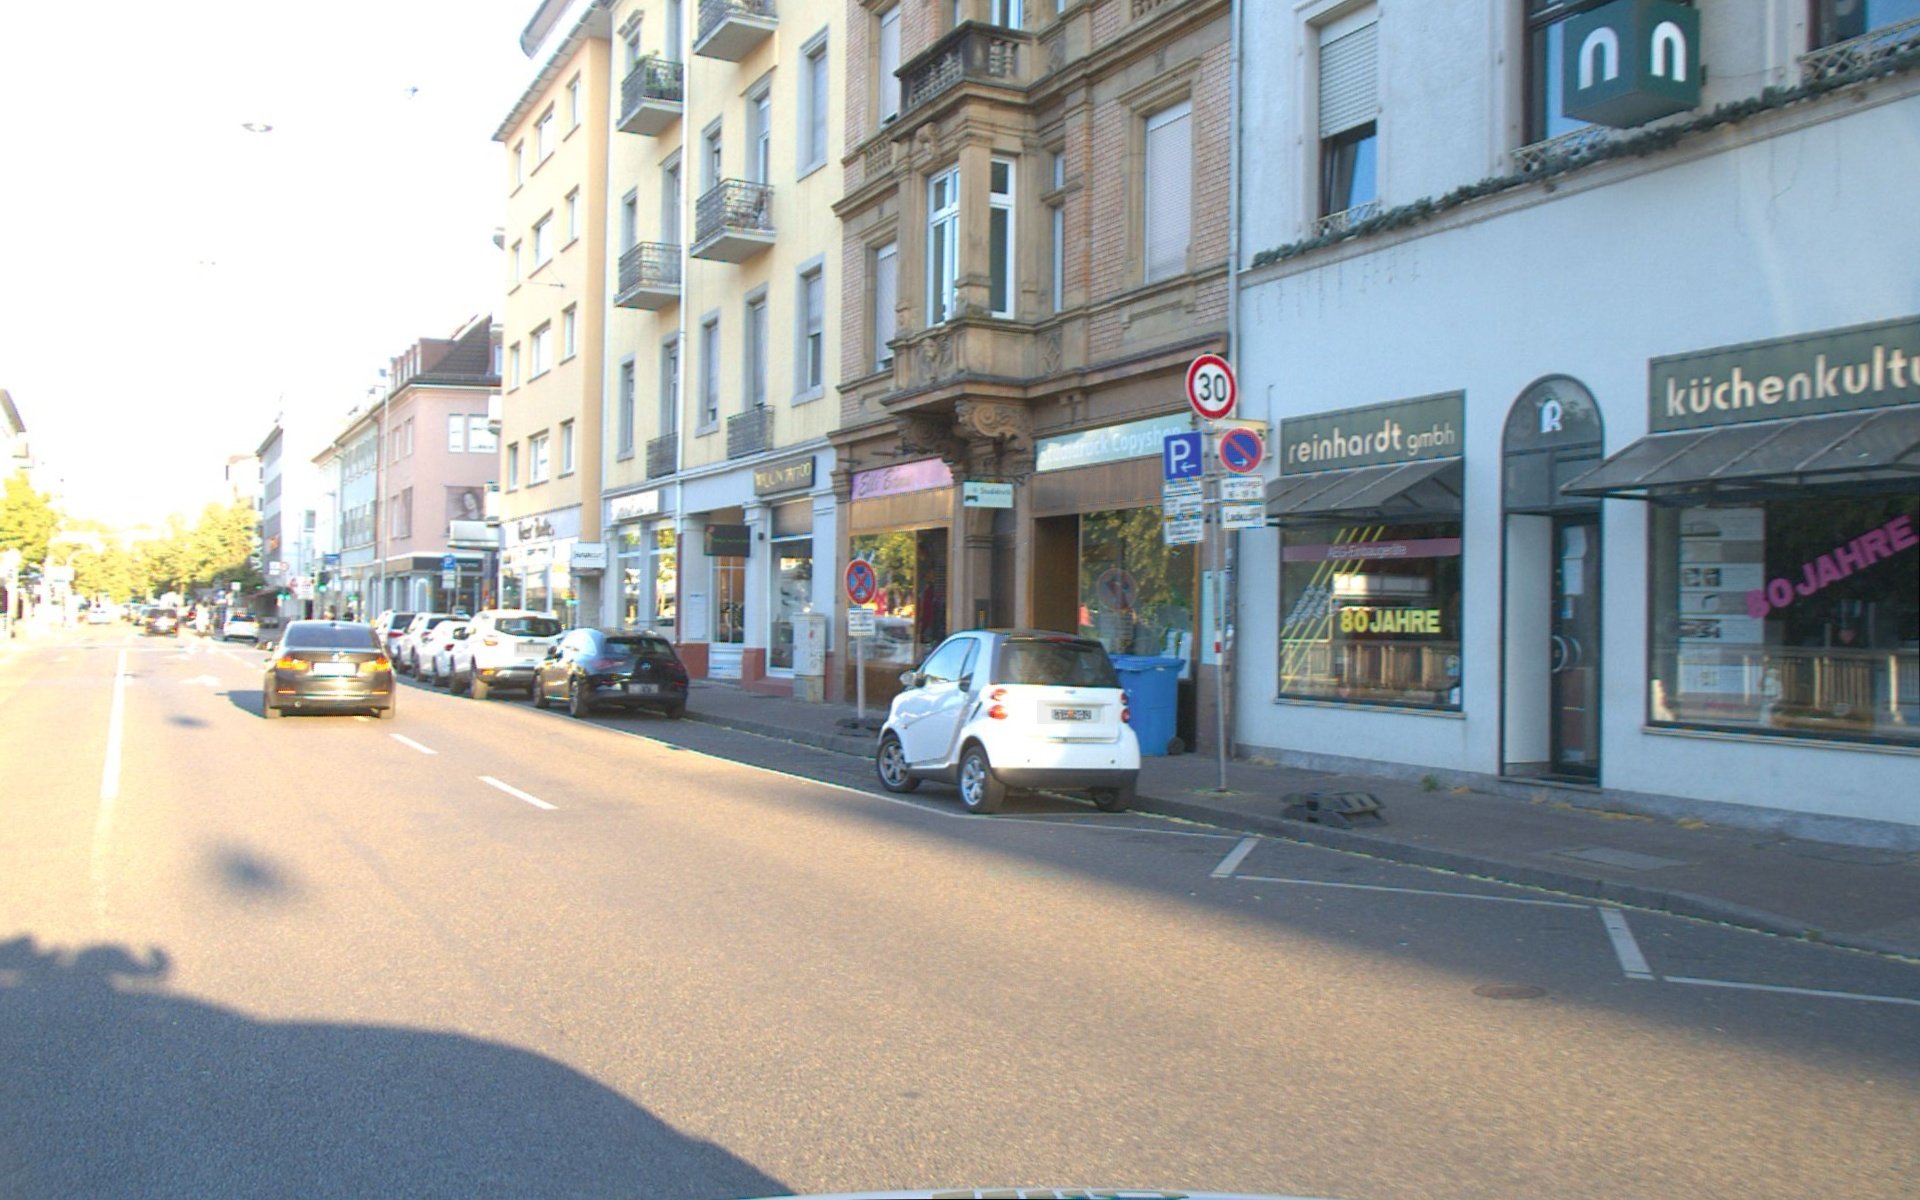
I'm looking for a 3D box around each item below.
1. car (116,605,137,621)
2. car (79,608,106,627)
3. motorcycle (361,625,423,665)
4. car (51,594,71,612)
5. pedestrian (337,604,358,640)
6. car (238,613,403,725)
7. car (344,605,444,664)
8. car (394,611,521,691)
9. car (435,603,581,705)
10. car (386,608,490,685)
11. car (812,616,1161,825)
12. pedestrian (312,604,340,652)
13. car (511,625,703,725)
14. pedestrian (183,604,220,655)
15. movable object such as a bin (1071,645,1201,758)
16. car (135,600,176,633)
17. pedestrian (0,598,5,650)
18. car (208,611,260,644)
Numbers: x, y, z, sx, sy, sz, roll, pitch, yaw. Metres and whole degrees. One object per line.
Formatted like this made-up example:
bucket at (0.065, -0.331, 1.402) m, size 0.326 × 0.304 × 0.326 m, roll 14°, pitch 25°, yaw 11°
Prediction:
car at (-96.383, 1.476, 191.268) m, size 1.969 × 1.780 × 3.967 m, roll 2°, pitch -1°, yaw -26°
car at (-75.630, 1.524, 144.260) m, size 1.870 × 1.624 × 3.967 m, roll 2°, pitch -1°, yaw -26°
motorcycle at (-18.400, 1.449, 53.582) m, size 1.793 × 1.285 × 0.709 m, roll 0°, pitch 0°, yaw -31°
car at (-106.037, 0.389, 195.126) m, size 1.805 × 2.049 × 3.645 m, roll 2°, pitch -1°, yaw -26°
pedestrian at (-31.559, 1.125, 85.215) m, size 0.750 × 1.808 × 1.037 m, roll 2°, pitch -1°, yaw -32°
car at (-9.735, 0.989, 25.007) m, size 1.866 × 1.518 × 4.167 m, roll 2°, pitch -1°, yaw -27°
car at (-16.649, 0.991, 48.512) m, size 1.971 × 1.641 × 4.758 m, roll 2°, pitch -1°, yaw -28°
car at (-11.592, 1.131, 37.938) m, size 1.991 × 1.570 × 4.828 m, roll 2°, pitch 0°, yaw -27°
car at (-9.051, 1.021, 32.856) m, size 1.860 × 1.775 × 4.618 m, roll 2°, pitch 0°, yaw -27°
car at (-13.753, 1.191, 43.433) m, size 1.846 × 1.793 × 4.369 m, roll 2°, pitch 0°, yaw -28°
car at (0.106, 1.022, 15.768) m, size 1.680 × 1.612 × 3.965 m, roll 1°, pitch 1°, yaw -27°
pedestrian at (-23.818, 1.044, 62.152) m, size 0.788 × 1.751 × 0.802 m, roll 2°, pitch -1°, yaw -35°
car at (-6.008, 1.195, 27.689) m, size 1.970 × 1.459 × 4.807 m, roll 2°, pitch -1°, yaw -27°
pedestrian at (-26.376, 1.040, 57.509) m, size 0.745 × 1.751 × 0.868 m, roll 0°, pitch -2°, yaw 38°
movable object such as a bin at (2.001, 1.135, 18.913) m, size 0.856 × 1.207 × 1.385 m, roll 1°, pitch -1°, yaw -28°
car at (-45.254, 0.937, 93.034) m, size 1.970 × 1.780 × 3.965 m, roll 2°, pitch -1°, yaw -27°
pedestrian at (-33.051, 0.806, 56.214) m, size 0.876 × 1.751 × 0.705 m, roll 2°, pitch -2°, yaw -39°
car at (-38.437, 1.428, 87.502) m, size 2.306 × 1.632 × 3.859 m, roll 2°, pitch -1°, yaw -27°
